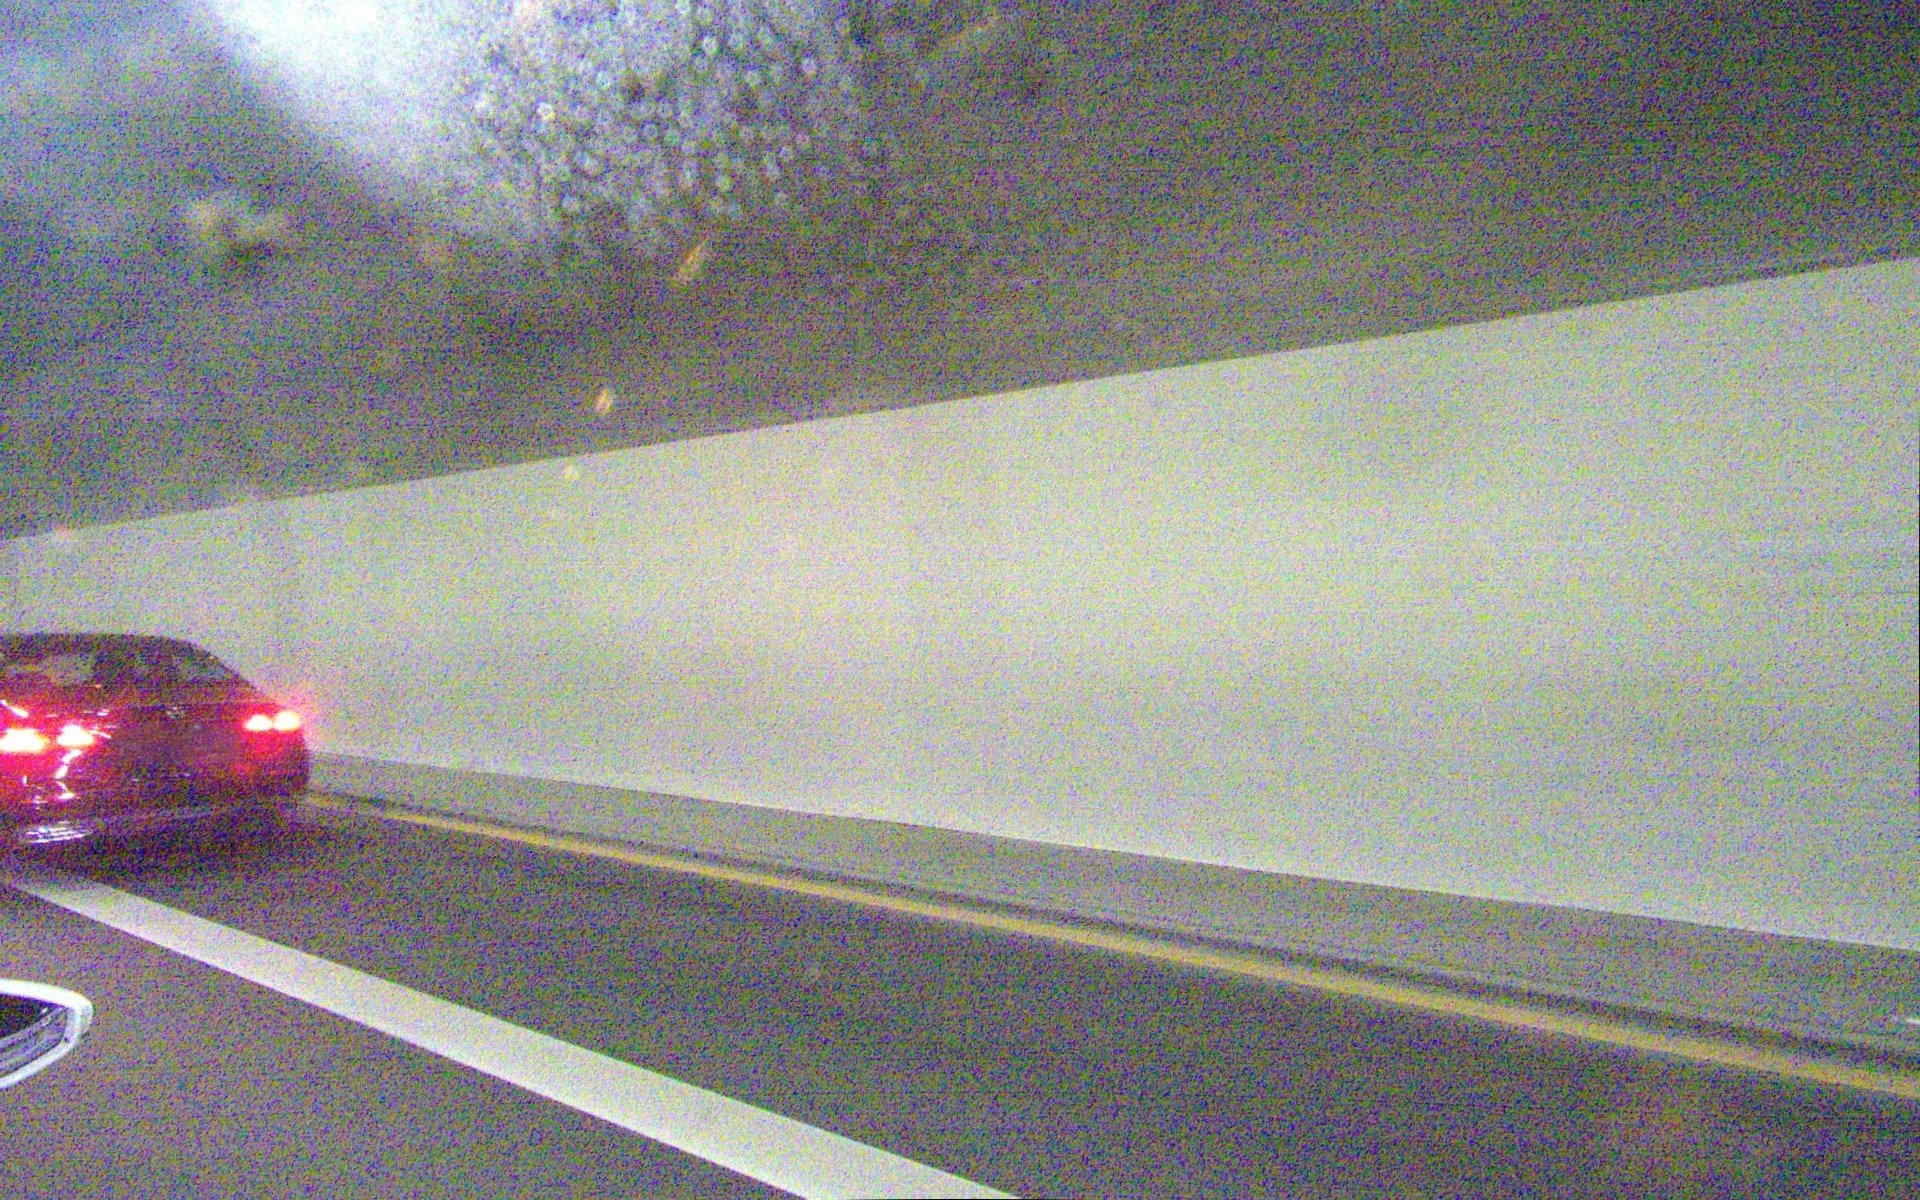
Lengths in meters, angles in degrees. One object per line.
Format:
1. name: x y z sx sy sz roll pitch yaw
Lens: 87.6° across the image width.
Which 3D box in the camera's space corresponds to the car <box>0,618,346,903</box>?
1. car: -6.687 0.945 7.229 4.885 1.490 1.923 -2 -4 33
